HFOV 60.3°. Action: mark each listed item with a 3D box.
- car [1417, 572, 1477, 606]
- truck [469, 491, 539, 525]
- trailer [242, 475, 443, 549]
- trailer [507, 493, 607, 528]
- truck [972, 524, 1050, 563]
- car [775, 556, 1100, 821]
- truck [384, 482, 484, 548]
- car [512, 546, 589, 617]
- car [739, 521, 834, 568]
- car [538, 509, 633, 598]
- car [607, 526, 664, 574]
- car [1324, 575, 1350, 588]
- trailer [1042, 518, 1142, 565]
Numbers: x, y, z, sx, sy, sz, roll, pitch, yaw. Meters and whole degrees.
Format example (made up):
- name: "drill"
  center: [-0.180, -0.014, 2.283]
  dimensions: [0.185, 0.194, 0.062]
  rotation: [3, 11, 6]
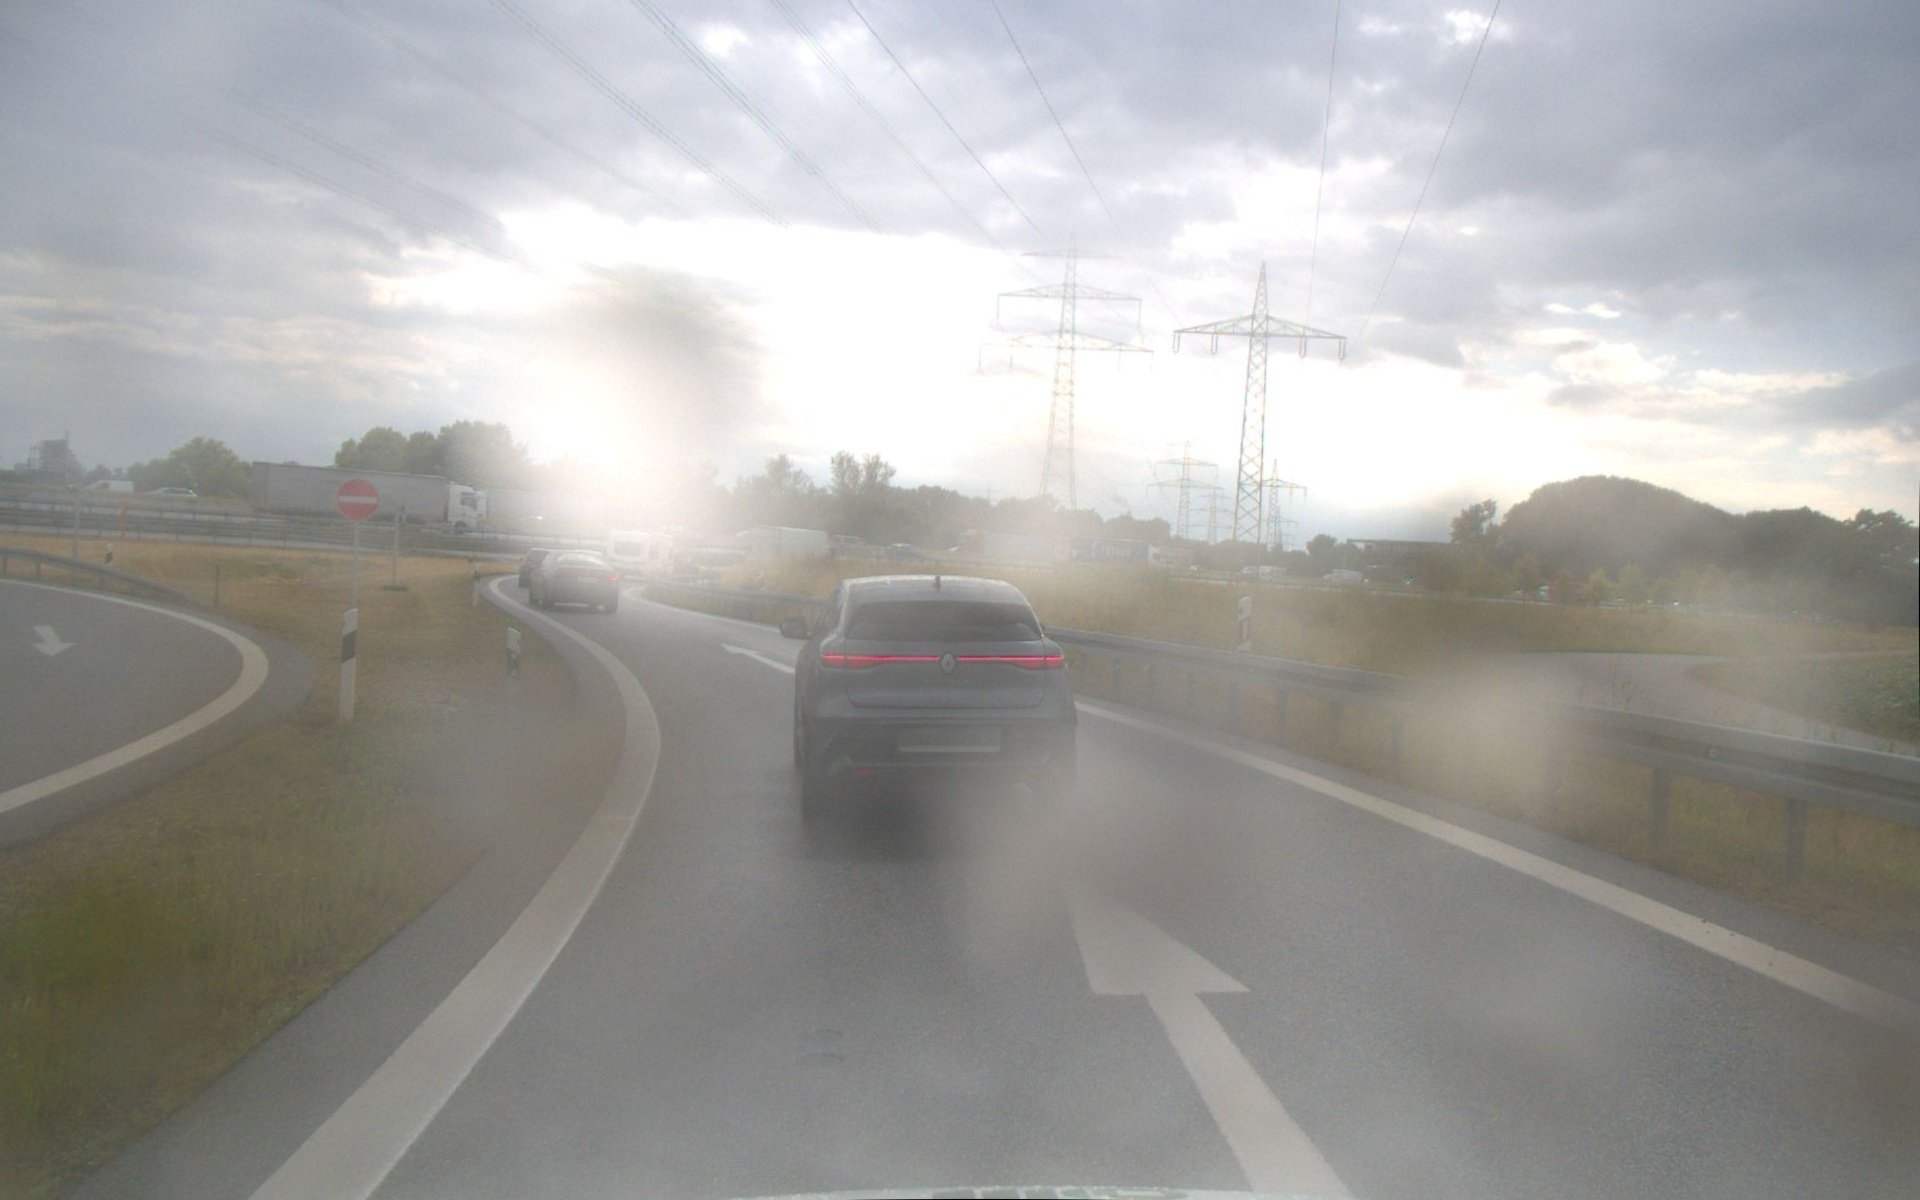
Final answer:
- name: "car"
  center: [59.917, -1.339, 203.258]
  dimensions: [3.336, 3.672, 8.987]
  rotation: [4, 1, 42]
- name: "truck"
  center: [-45.440, -9.136, 165.022]
  dimensions: [2.281, 3.078, 6.427]
  rotation: [5, 4, 43]
- name: "trailer"
  center: [-44.420, -6.297, 119.506]
  dimensions: [13.292, 4.695, 3.428]
  rotation: [0, 4, -45]
- name: "trailer"
  center: [-41.259, -9.164, 169.607]
  dimensions: [2.281, 3.078, 10.417]
  rotation: [5, 4, 43]
- name: "truck"
  center: [6.698, -7.250, 213.873]
  dimensions: [1.967, 4.194, 12.410]
  rotation: [4, 1, 44]
- name: "car"
  center: [-0.281, 0.490, 12.080]
  dimensions: [1.954, 1.593, 4.146]
  rotation: [1, 1, -4]
- name: "truck"
  center: [-39.524, -6.352, 124.356]
  dimensions: [6.221, 4.643, 3.298]
  rotation: [0, 4, -44]
- name: "car"
  center: [-15.520, -0.745, 62.984]
  dimensions: [2.308, 2.346, 5.120]
  rotation: [2, 3, -9]
- name: "car"
  center: [-11.828, -3.804, 113.472]
  dimensions: [3.076, 3.001, 7.202]
  rotation: [4, 3, 26]
- name: "car"
  center: [-9.987, -1.297, 43.793]
  dimensions: [2.087, 2.052, 5.512]
  rotation: [2, 3, -16]
- name: "car"
  center: [-17.571, -2.737, 89.775]
  dimensions: [2.305, 2.346, 5.126]
  rotation: [3, 3, -5]
- name: "car"
  center: [52.972, -2.600, 232.347]
  dimensions: [1.964, 1.630, 3.980]
  rotation: [5, 4, 39]
- name: "trailer"
  center: [14.638, -6.381, 181.691]
  dimensions: [3.008, 4.714, 13.209]
  rotation: [6, 4, 44]
